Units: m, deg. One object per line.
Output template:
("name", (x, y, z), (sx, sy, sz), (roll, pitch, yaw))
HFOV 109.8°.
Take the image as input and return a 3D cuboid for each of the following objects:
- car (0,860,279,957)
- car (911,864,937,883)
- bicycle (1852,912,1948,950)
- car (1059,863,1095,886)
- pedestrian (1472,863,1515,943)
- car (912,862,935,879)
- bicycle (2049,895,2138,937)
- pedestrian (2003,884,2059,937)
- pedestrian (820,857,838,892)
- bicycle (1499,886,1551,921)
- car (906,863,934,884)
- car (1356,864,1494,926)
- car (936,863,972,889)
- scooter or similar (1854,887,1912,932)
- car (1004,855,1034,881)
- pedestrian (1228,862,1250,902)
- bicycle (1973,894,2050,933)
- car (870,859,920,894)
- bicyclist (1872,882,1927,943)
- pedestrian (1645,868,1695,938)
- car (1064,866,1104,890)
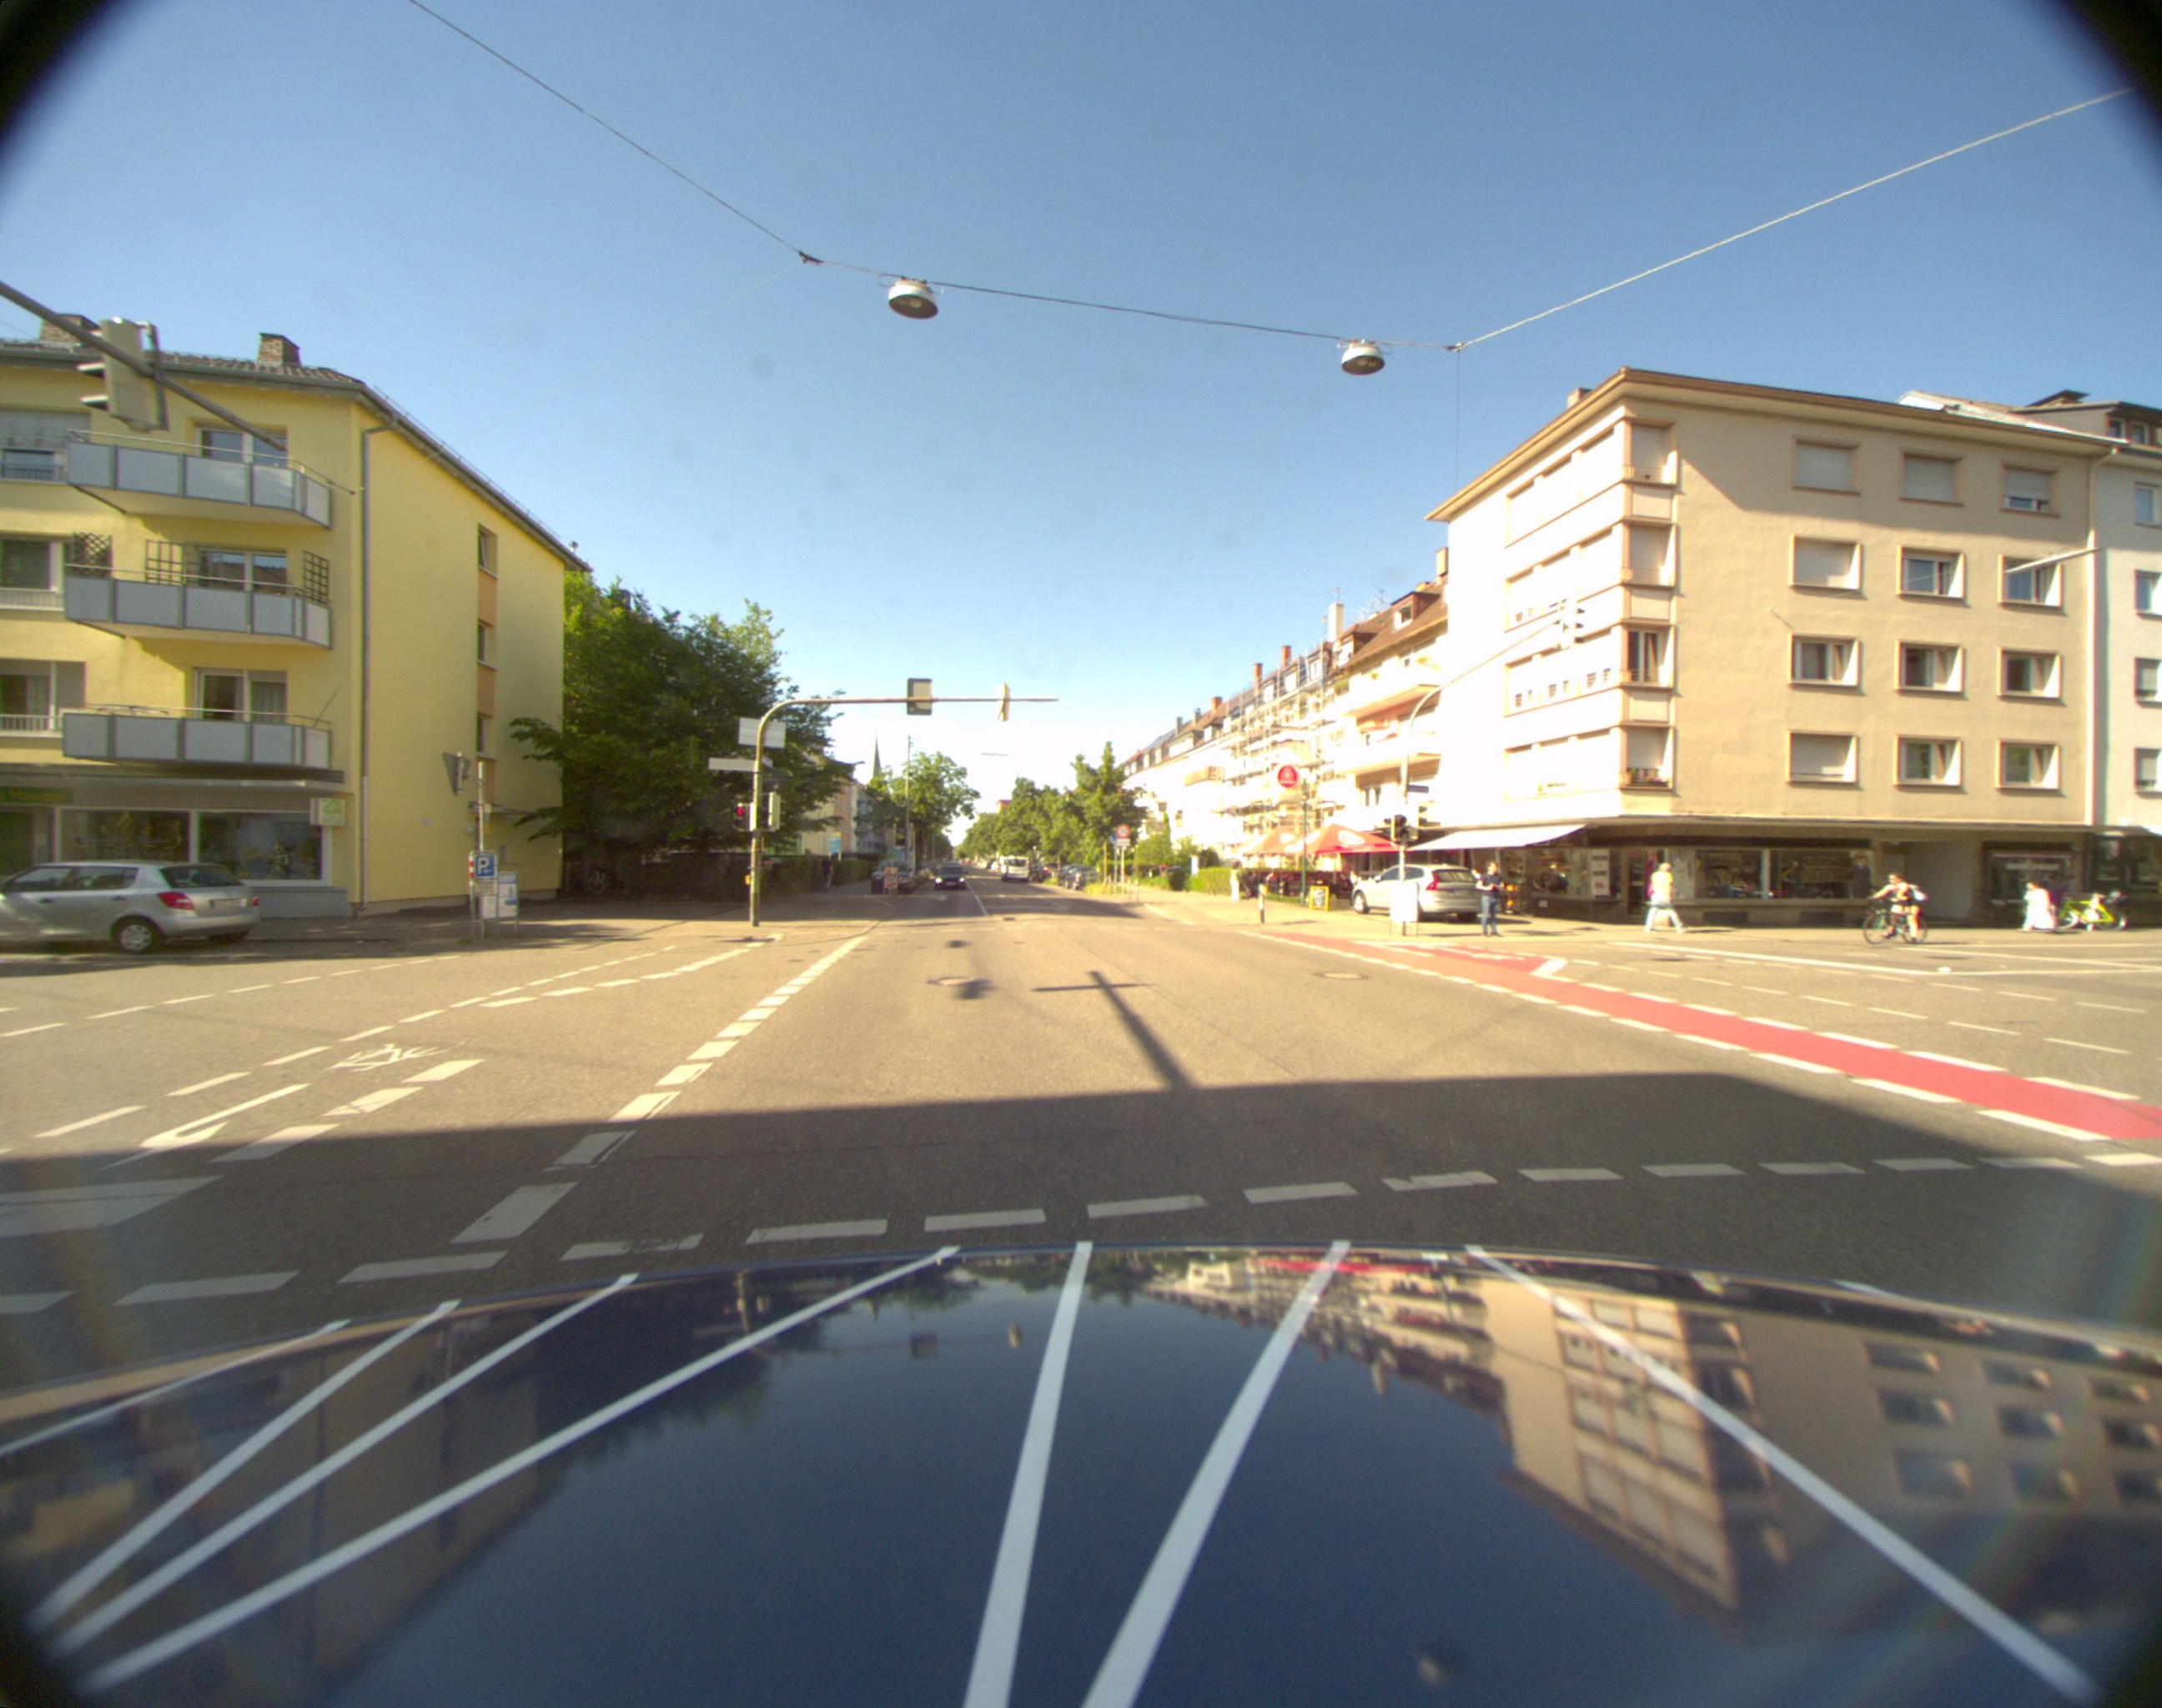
("car", (-16.152, 0.865, 12.666), (3.480, 1.475, 1.717), (1, 0, -9))
("car", (-11.496, 1.422, 55.867), (1.685, 1.329, 3.520), (1, 0, -8))
("bicycle", (18.911, 1.776, 17.557), (1.709, 0.801, 0.583), (1, 0, -5))
("car", (-0.303, 1.316, 49.808), (1.714, 1.445, 3.997), (1, 0, -9))
("pedestrian", (9.621, 1.119, 17.744), (0.606, 1.811, 0.627), (1, 0, -24))
("car", (-13.178, 1.335, 63.725), (1.686, 1.329, 3.519), (1, 0, -9))
("bicycle", (29.598, 1.788, 22.236), (0.725, 1.100, 1.491), (1, 0, -42))
("pedestrian", (26.452, 1.557, 21.169), (0.625, 1.433, 0.775), (1, 0, -14))
("pedestrian", (-11.741, 0.956, 35.347), (0.646, 1.577, 0.571), (1, 0, -3))
("bicycle", (14.190, 1.562, 24.334), (0.567, 1.011, 1.895), (1, 0, 2))
("car", (-11.064, 1.326, 52.337), (1.686, 1.404, 3.519), (1, 0, -9))
("car", (10.069, 1.144, 22.633), (1.825, 1.652, 3.997), (1, 0, -9))
("car", (-7.182, 1.198, 43.028), (1.870, 1.368, 3.997), (0, 0, -9))
("scooter or similar", (22.529, 1.545, 21.344), (1.229, 1.217, 0.527), (1, 0, -10))
("car", (-4.891, 1.119, 59.426), (1.975, 1.928, 5.053), (0, -2, -8))
("pedestrian", (6.426, 1.130, 30.872), (0.646, 1.608, 0.594), (1, 0, -15))
("bicycle", (27.019, 1.716, 22.073), (1.799, 1.079, 0.407), (1, 3, -5))
("car", (-8.854, 1.029, 36.461), (2.000, 1.564, 3.997), (1, 0, -9))
("bicyclist", (18.913, 1.340, 17.564), (0.664, 1.369, 0.583), (1, 0, -5))
("pedestrian", (14.994, 1.236, 19.359), (0.763, 1.747, 0.663), (0, 0, -4))
("car", (0.128, 1.388, 45.227), (1.714, 1.306, 3.996), (1, 0, -10))
